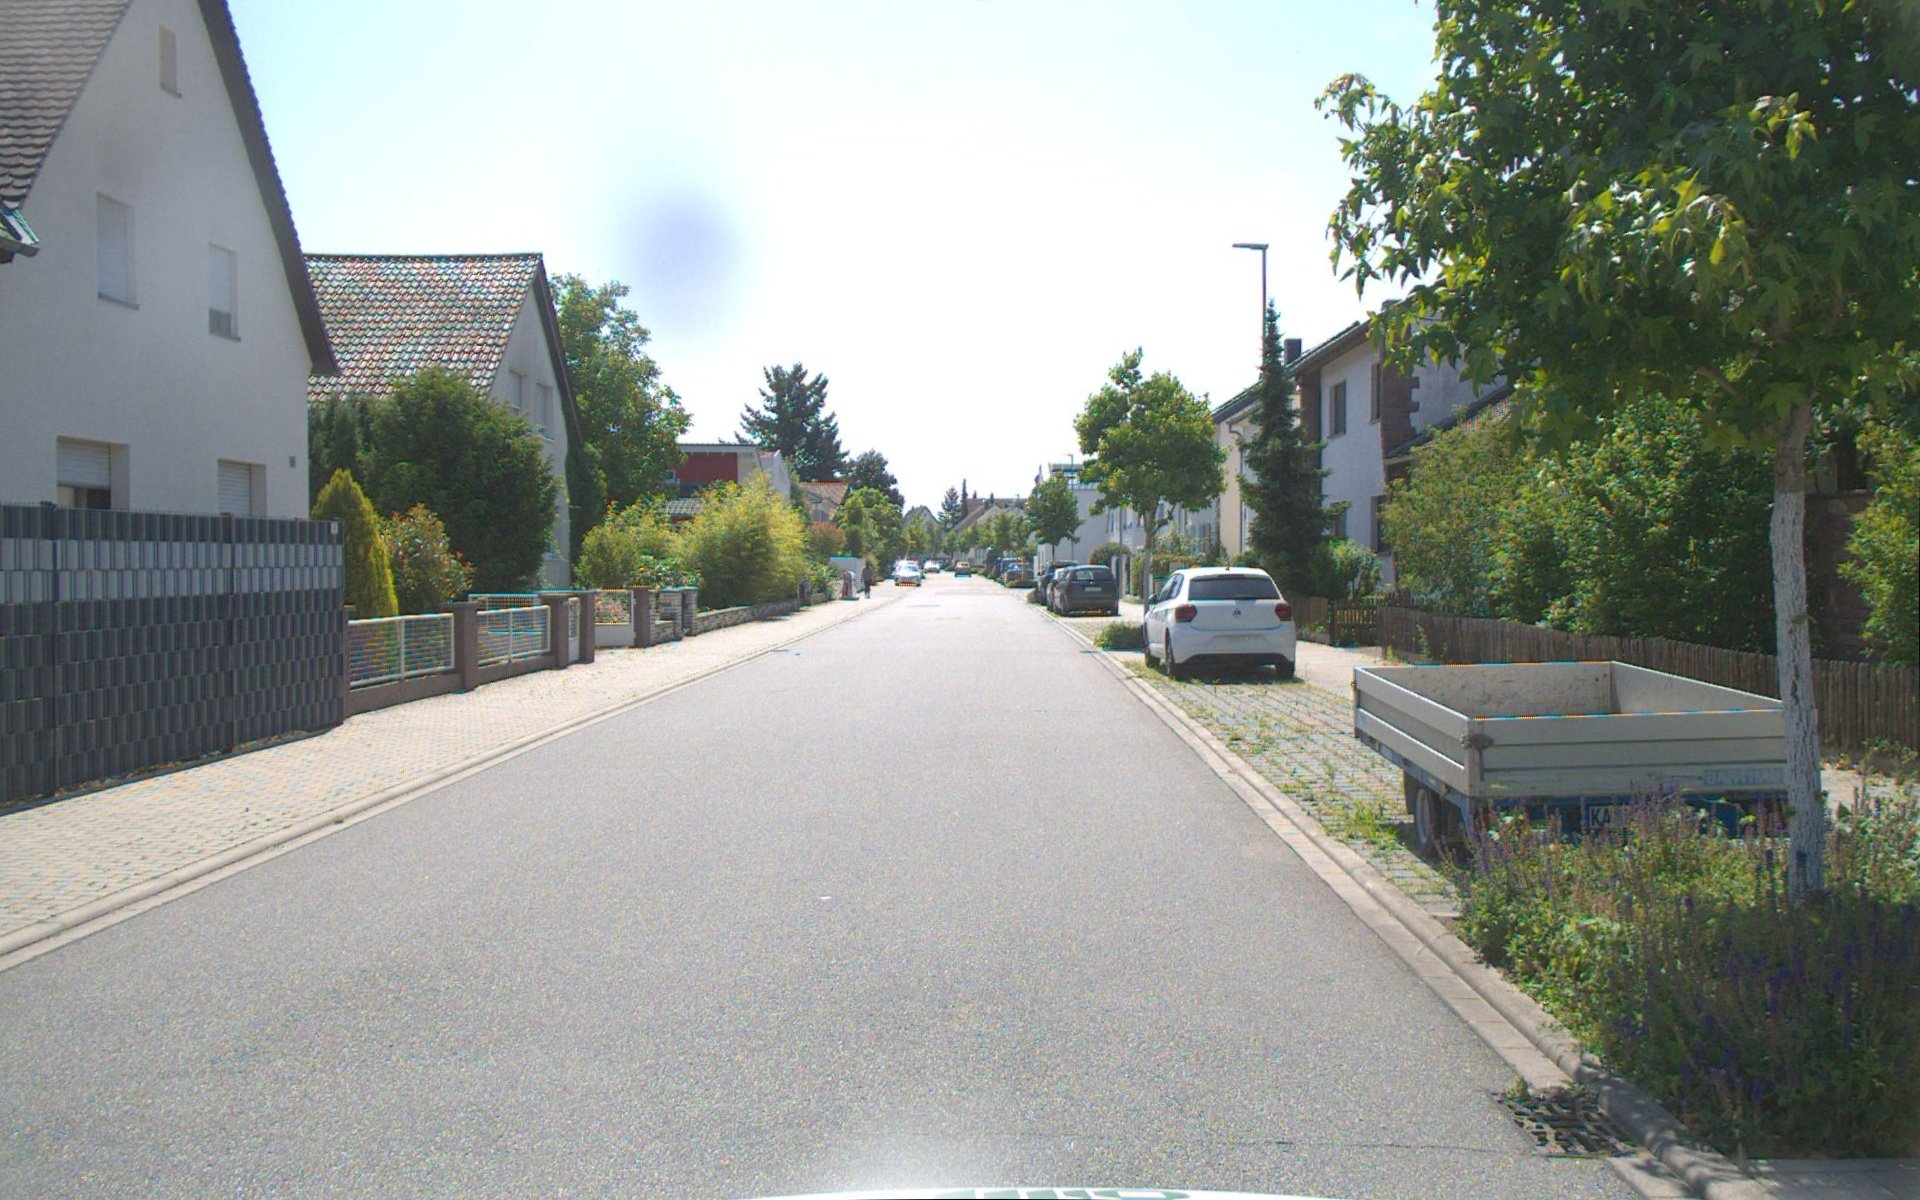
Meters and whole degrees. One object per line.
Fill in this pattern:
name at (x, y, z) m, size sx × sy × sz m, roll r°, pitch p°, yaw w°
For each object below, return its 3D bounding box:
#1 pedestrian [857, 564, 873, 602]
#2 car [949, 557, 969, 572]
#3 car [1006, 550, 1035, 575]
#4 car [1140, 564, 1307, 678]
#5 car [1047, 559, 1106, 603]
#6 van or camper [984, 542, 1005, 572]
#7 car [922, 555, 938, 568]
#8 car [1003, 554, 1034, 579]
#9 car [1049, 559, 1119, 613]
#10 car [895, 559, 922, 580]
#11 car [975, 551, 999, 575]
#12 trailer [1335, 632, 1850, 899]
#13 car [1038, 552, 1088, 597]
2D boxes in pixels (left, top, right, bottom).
pedestrian at (-4.438, -0.784, 77.492) m, size 0.700 × 1.777 × 0.961 m, roll 0°, pitch 1°, yaw 0°
car at (-0.114, -3.638, 168.741) m, size 1.952 × 1.455 × 4.001 m, roll 0°, pitch 1°, yaw 2°
car at (4.582, -2.856, 125.868) m, size 2.056 × 1.914 × 4.844 m, roll 0°, pitch 1°, yaw 1°
car at (3.603, 0.228, 23.205) m, size 1.777 × 1.444 × 3.869 m, roll 0°, pitch 1°, yaw 1°
car at (3.933, -0.681, 56.533) m, size 1.777 × 1.444 × 4.094 m, roll 0°, pitch 1°, yaw 1°
van or camper at (3.435, -4.310, 165.094) m, size 1.953 × 2.992 × 4.000 m, roll 0°, pitch 1°, yaw 0°
car at (-3.732, -4.863, 208.999) m, size 1.814 × 1.504 × 4.701 m, roll 0°, pitch 1°, yaw 2°
car at (3.872, -2.202, 109.233) m, size 1.737 × 1.623 × 4.278 m, roll 0°, pitch 1°, yaw -2°
car at (3.765, -0.458, 50.797) m, size 1.706 × 1.560 × 4.448 m, roll 0°, pitch 1°, yaw -2°
car at (-3.651, -2.188, 117.736) m, size 1.814 × 1.514 × 4.386 m, roll 0°, pitch 1°, yaw 0°
car at (2.262, -3.140, 140.301) m, size 1.953 × 1.981 × 5.215 m, roll -1°, pitch 1°, yaw 0°
trailer at (3.193, 0.782, 8.952) m, size 1.750 × 1.077 × 2.900 m, roll 0°, pitch 1°, yaw 2°
car at (4.079, -1.051, 65.846) m, size 1.777 × 1.685 × 4.565 m, roll 0°, pitch 2°, yaw 1°
